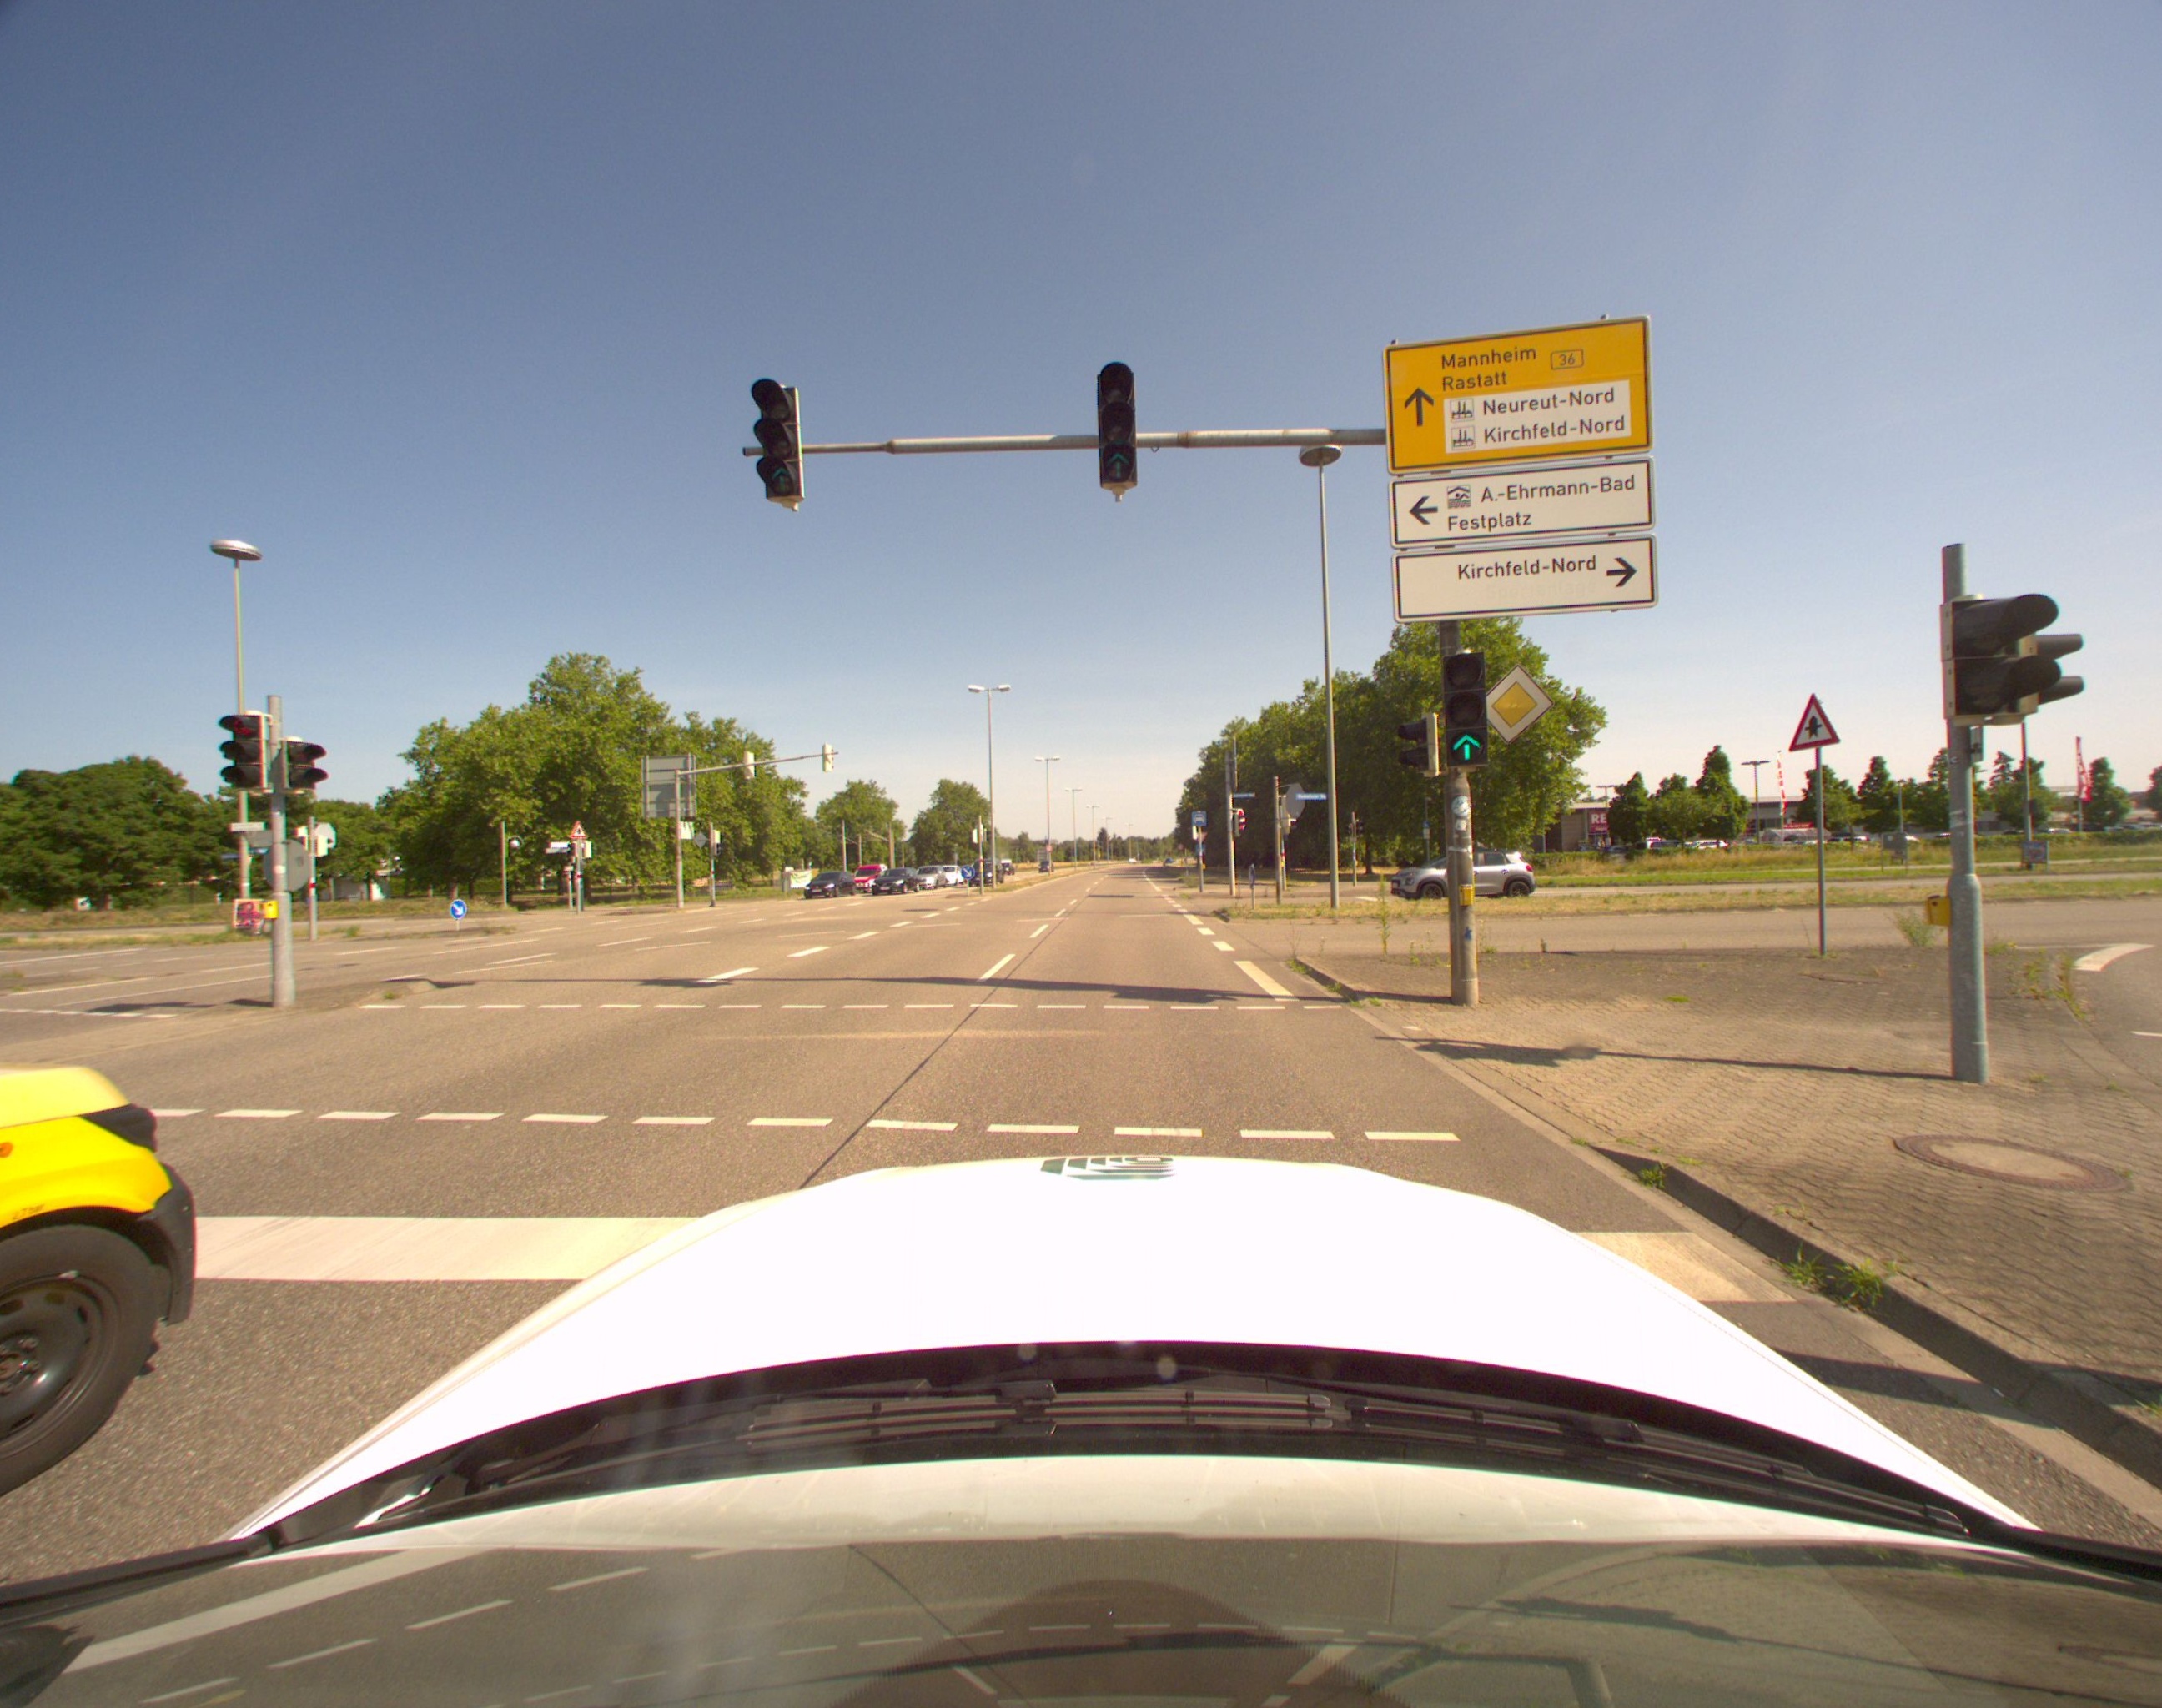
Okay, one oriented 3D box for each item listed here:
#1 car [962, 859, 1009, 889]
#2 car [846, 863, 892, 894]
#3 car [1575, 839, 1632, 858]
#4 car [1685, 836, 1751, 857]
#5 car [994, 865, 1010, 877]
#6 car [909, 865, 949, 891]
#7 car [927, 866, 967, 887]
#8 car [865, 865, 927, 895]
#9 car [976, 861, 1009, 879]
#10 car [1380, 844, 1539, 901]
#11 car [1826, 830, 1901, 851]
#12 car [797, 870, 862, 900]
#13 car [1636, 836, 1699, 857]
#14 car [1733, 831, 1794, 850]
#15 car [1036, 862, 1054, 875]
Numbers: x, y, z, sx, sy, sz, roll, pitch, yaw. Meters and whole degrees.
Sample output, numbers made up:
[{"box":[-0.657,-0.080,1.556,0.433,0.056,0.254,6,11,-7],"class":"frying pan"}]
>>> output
[{"box":[-5.977,1.211,51.515,1.971,1.750,4.514,-2,-1,5],"class":"car"},{"box":[-13.276,1.512,51.260,1.699,1.770,4.228,-3,-1,0],"class":"car"},{"box":[53.590,-0.533,83.526,4.468,1.750,1.992,-2,-1,8],"class":"car"},{"box":[60.368,-0.684,77.232,4.468,1.750,1.992,-2,-1,8],"class":"car"},{"box":[-10.077,2.111,103.929,1.978,1.457,4.222,-2,-1,-4],"class":"car"},{"box":[-9.575,1.494,51.660,1.612,1.457,3.874,-2,-1,3],"class":"car"},{"box":[-9.547,1.579,58.319,1.820,1.386,3.849,-2,-1,5],"class":"car"},{"box":[-9.958,1.363,44.187,1.971,1.457,4.339,-2,-1,5],"class":"car"},{"box":[-7.807,1.384,72.147,1.971,1.457,4.457,-2,-1,5],"class":"car"},{"box":[11.558,0.554,25.054,4.035,1.564,1.744,-2,-1,2],"class":"car"},{"box":[70.549,-1.199,73.489,4.452,1.750,1.999,-2,-1,25],"class":"car"},{"box":[-13.737,1.646,44.718,1.876,1.457,4.236,-2,-1,5],"class":"car"},{"box":[51.417,-0.633,71.487,3.961,1.728,2.006,-2,-1,10],"class":"car"},{"box":[72.493,-1.424,86.548,4.460,1.750,1.995,-2,-1,14],"class":"car"},{"box":[-5.196,2.073,116.604,1.972,1.779,4.495,-2,-1,4],"class":"car"}]
